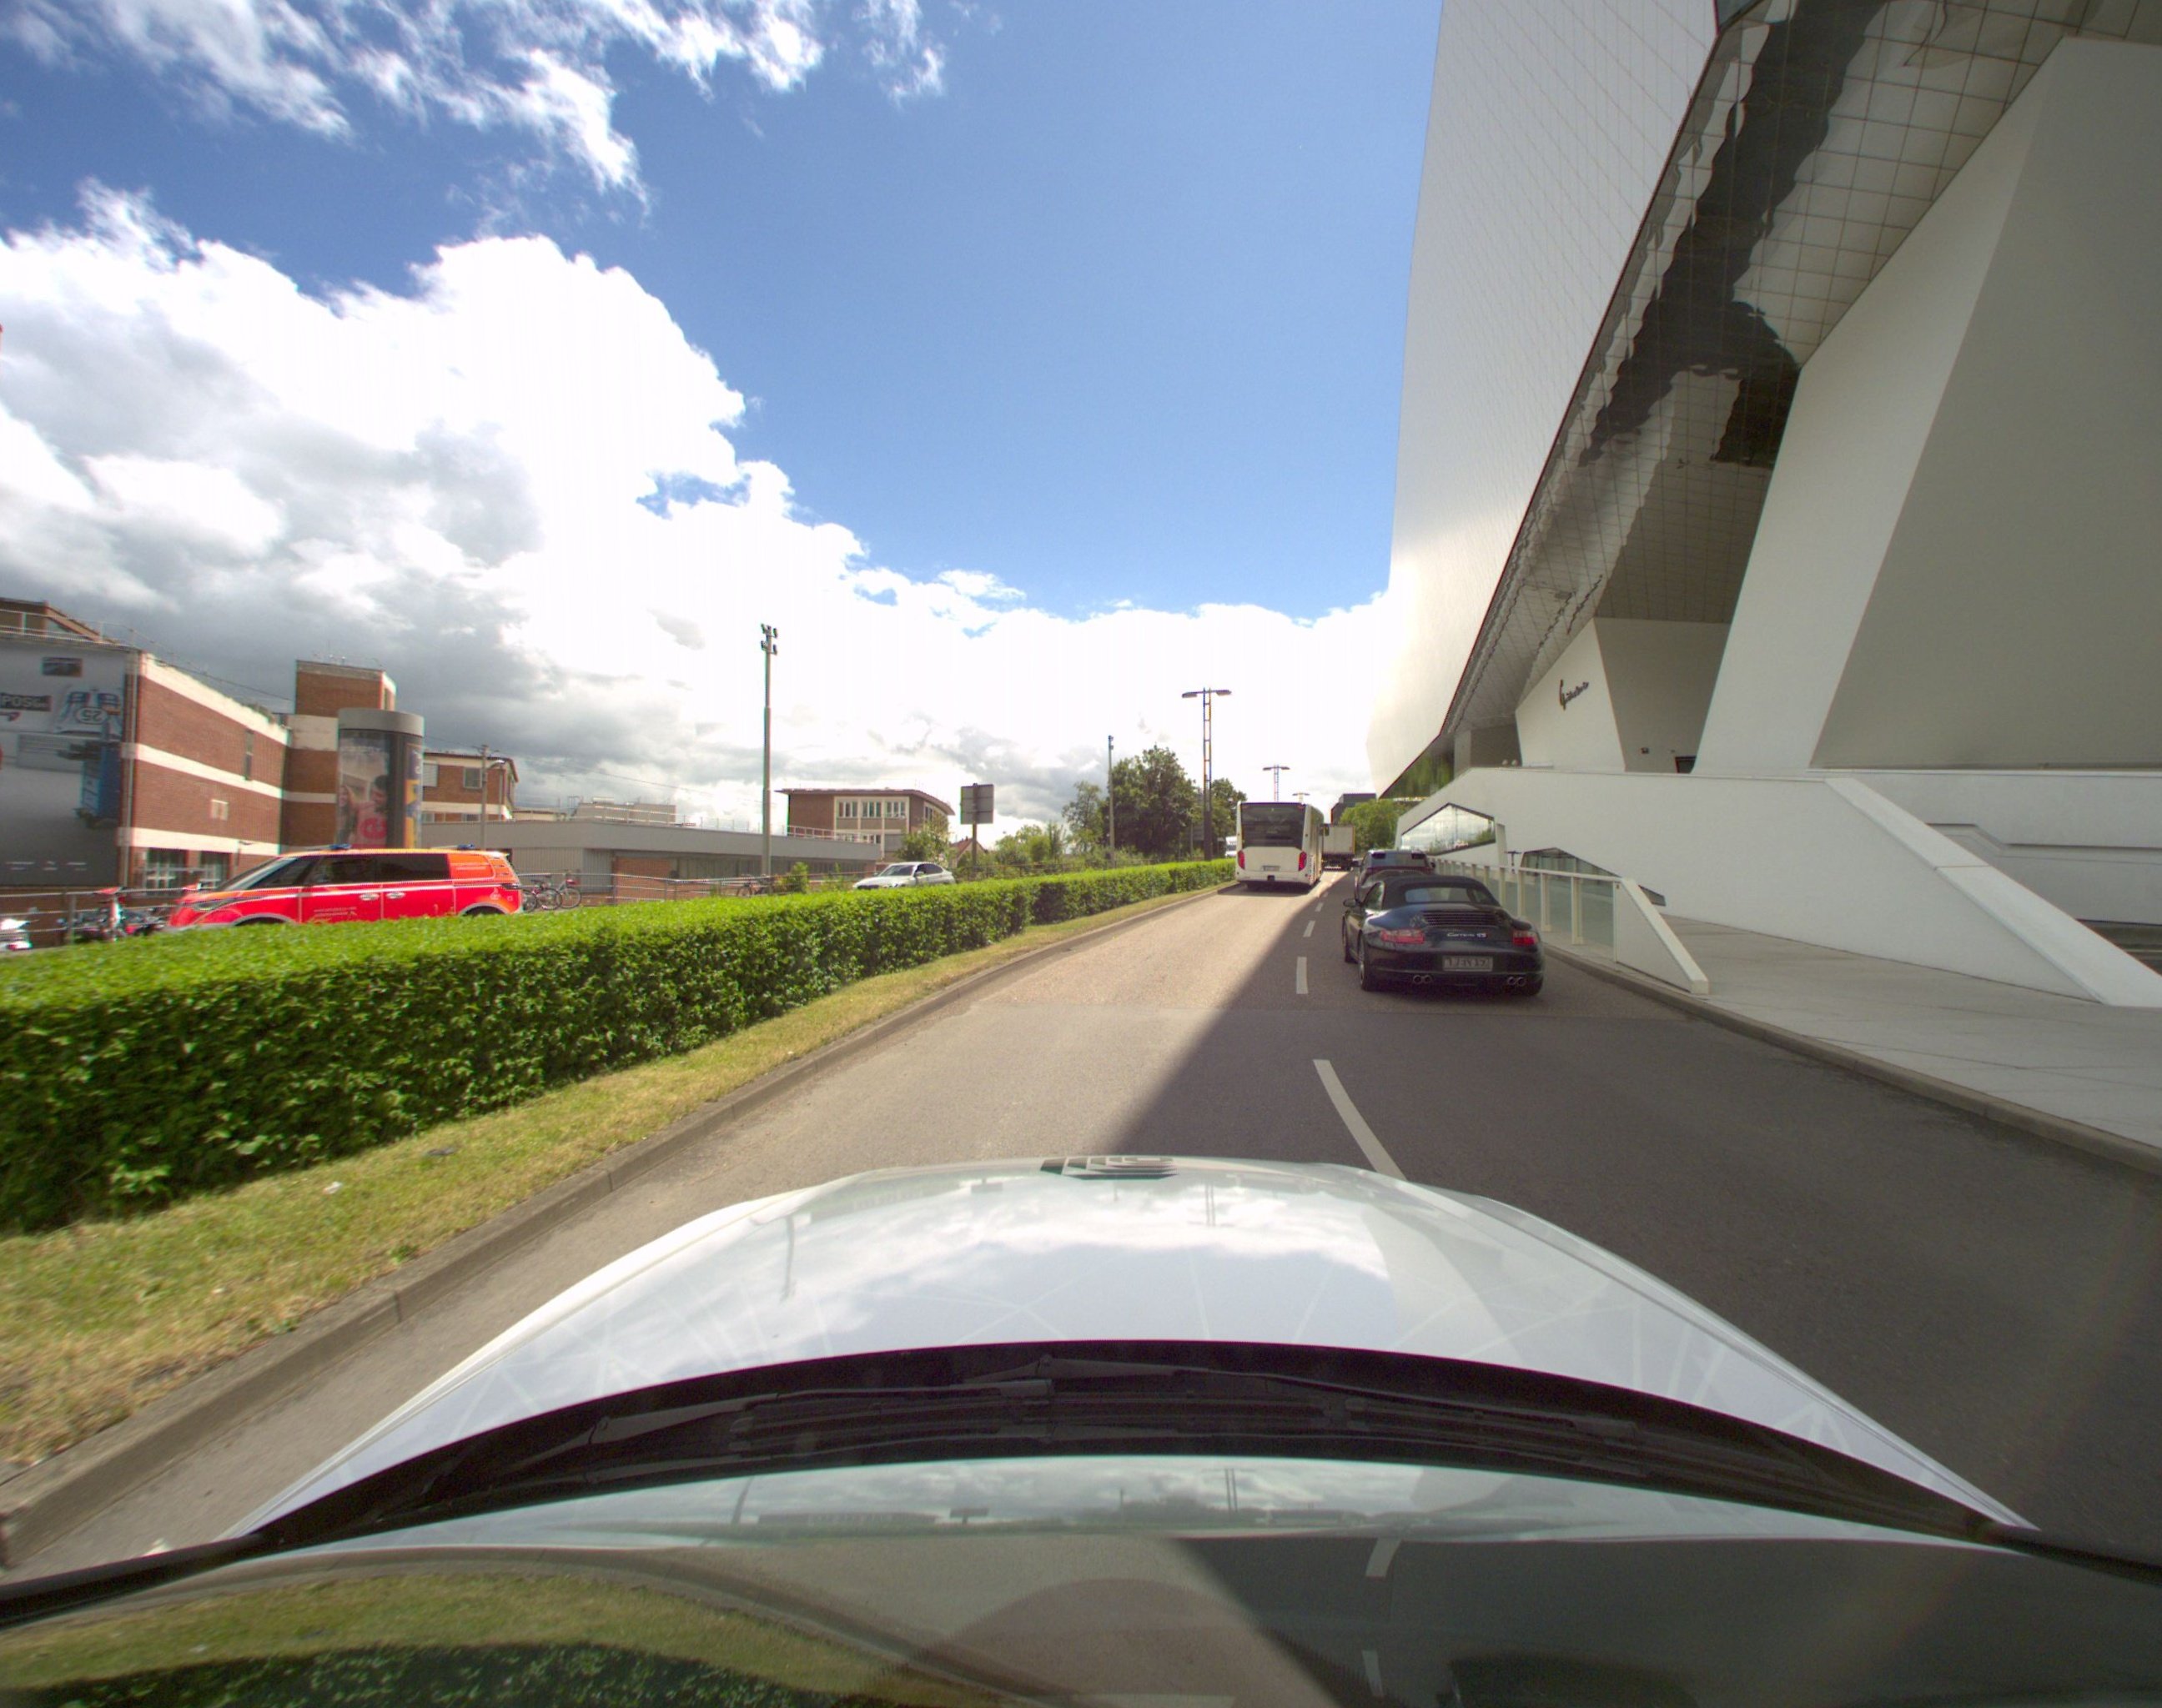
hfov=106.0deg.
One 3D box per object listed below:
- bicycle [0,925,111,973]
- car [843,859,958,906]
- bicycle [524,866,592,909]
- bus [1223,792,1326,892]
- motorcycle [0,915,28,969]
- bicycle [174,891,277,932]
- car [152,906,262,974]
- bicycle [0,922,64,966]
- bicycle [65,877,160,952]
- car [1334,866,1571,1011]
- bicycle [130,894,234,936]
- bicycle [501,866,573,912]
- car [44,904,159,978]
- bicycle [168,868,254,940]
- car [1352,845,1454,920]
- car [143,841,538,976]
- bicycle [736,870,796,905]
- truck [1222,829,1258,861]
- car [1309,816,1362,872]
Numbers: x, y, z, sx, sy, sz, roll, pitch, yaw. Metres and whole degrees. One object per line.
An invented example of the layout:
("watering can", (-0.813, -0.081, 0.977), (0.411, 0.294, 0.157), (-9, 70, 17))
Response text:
("bicycle", (-21.554, 1.963, 16.993), (0.488, 0.866, 1.615), (1, -2, 9))
("car", (-6.284, 0.953, 28.962), (1.740, 1.397, 4.697), (1, 1, 19))
("bicycle", (-15.352, 0.975, 23.905), (1.724, 1.182, 0.673), (1, -1, 17))
("bus", (8.293, -0.487, 33.527), (3.047, 3.362, 12.281), (1, 1, 18))
("motorcycle", (-28.262, 2.269, 21.154), (2.875, 1.196, 0.926), (0, -3, 40))
("bicycle", (-20.561, 1.364, 19.605), (0.486, 0.866, 1.621), (-1, 0, 29))
("car", (-26.723, 2.557, 24.885), (3.438, 1.804, 1.714), (0, -3, 34))
("bicycle", (-22.518, 1.883, 16.920), (0.487, 0.866, 1.619), (1, -2, 20))
("bicycle", (-18.371, 1.129, 15.448), (1.593, 1.317, 0.495), (1, -2, 17))
("car", (4.286, 0.859, 10.073), (1.822, 1.325, 4.013), (0, 0, 12))
("bicycle", (-21.528, 1.441, 19.547), (0.487, 0.866, 1.618), (0, 1, 17))
("bicycle", (-15.396, 0.965, 23.057), (1.724, 1.181, 0.673), (1, 3, 15))
("car", (-27.792, 2.387, 23.099), (3.438, 1.785, 1.640), (0, -3, 34))
("bicycle", (-17.920, 1.015, 16.774), (1.593, 1.383, 0.495), (1, -2, 17))
("car", (7.901, 0.615, 20.325), (1.978, 1.636, 4.018), (1, 1, 16))
("car", (-12.914, 0.840, 14.631), (1.974, 1.983, 4.867), (-1, -1, 31))
("bicycle", (-10.682, 1.106, 27.720), (0.448, 1.071, 2.308), (1, 1, 21))
("truck", (17.276, -0.931, 88.092), (2.177, 2.961, 8.996), (1, -2, 21))
("car", (18.596, -0.575, 59.496), (3.309, 3.505, 9.381), (1, -2, 18))
